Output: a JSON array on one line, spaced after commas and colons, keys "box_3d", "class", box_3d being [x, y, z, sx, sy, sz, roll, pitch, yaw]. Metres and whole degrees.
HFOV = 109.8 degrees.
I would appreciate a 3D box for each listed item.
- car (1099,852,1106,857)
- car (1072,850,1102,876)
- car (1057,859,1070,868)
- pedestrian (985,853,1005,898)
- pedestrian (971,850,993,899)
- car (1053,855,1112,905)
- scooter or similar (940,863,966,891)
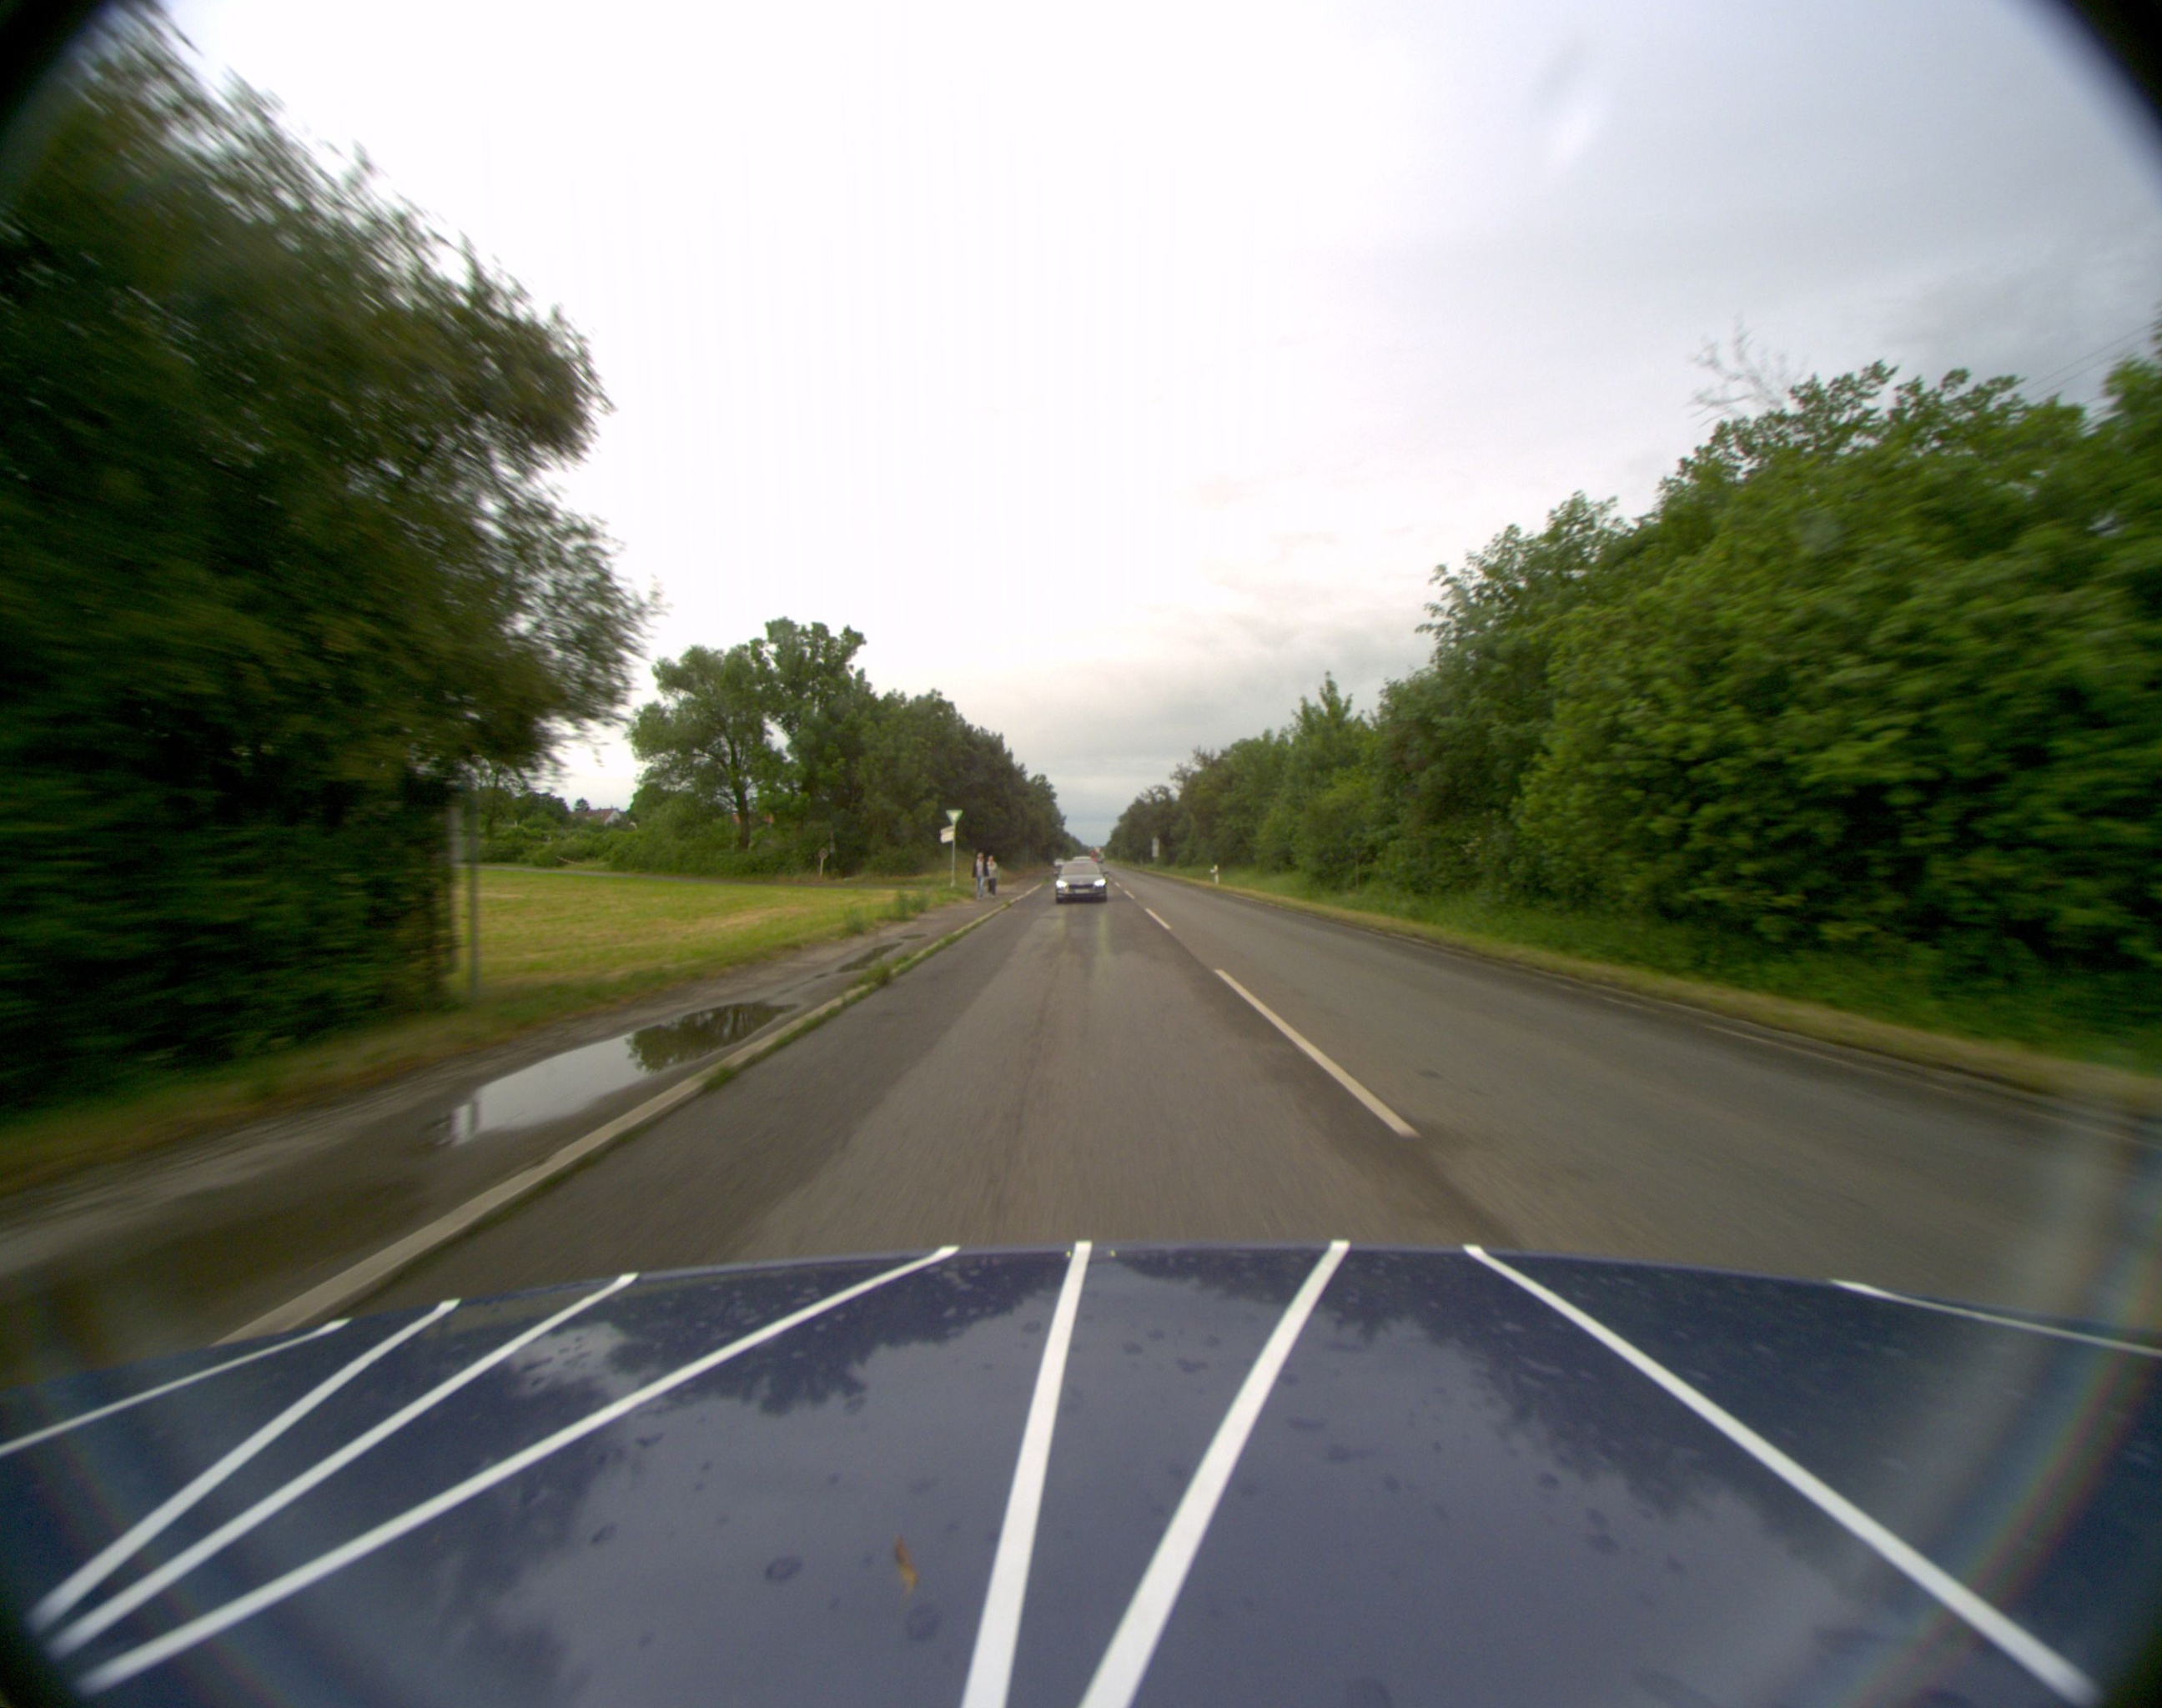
[{"box_3d": [6.009, 0.167, 210.967, 1.876, 1.480, 4.574, 2, 0, 0], "class": "car"}, {"box_3d": [0.423, 0.604, 52.718, 1.915, 1.690, 3.913, -2, 0, 0], "class": "car"}, {"box_3d": [-2.819, 1.519, 122.854, 1.748, 1.460, 4.221, 1, 0, 2], "class": "car"}, {"box_3d": [-3.424, 0.845, 30.289, 0.663, 1.768, 0.759, 0, 1, -16], "class": "pedestrian"}, {"box_3d": [-3.733, 0.779, 28.723, 0.696, 1.817, 0.800, 0, 1, -16], "class": "pedestrian"}, {"box_3d": [0.060, 0.877, 27.673, 1.915, 1.543, 4.354, -2, 0, 0], "class": "car"}, {"box_3d": [-5.652, 1.018, 33.506, 1.323, 1.199, 0.375, 1, 1, 41], "class": "scooter or similar"}]
